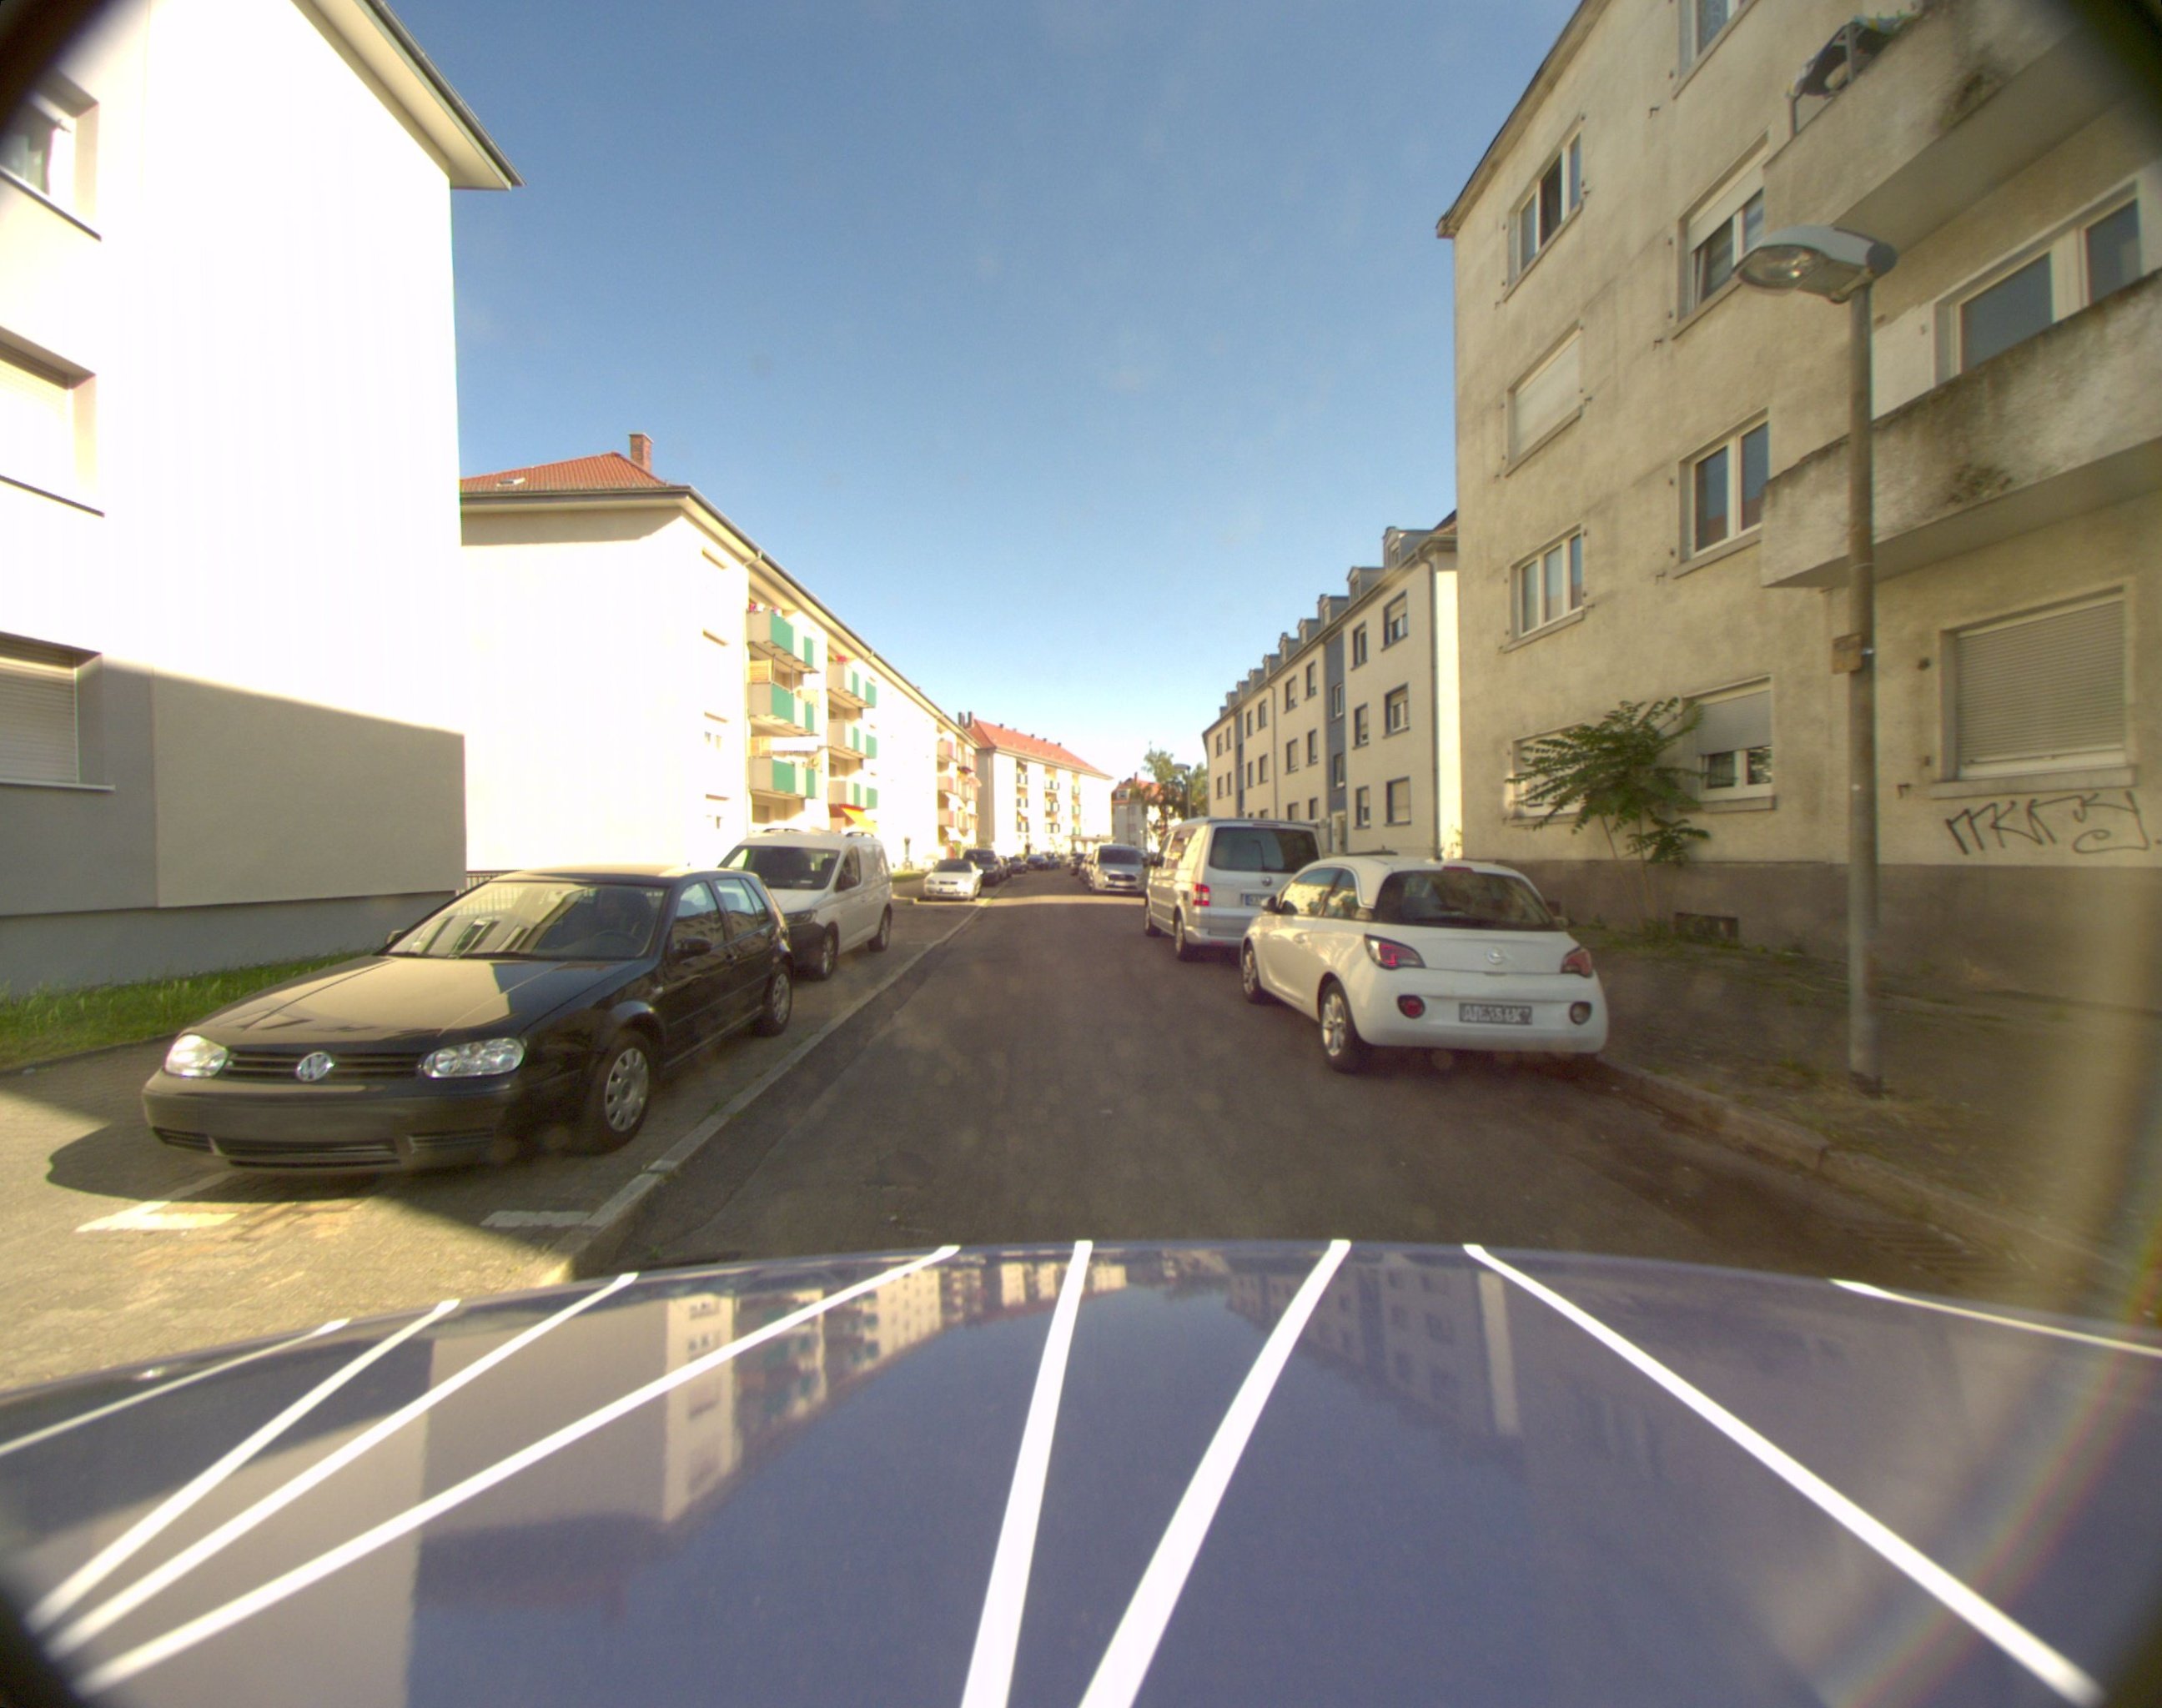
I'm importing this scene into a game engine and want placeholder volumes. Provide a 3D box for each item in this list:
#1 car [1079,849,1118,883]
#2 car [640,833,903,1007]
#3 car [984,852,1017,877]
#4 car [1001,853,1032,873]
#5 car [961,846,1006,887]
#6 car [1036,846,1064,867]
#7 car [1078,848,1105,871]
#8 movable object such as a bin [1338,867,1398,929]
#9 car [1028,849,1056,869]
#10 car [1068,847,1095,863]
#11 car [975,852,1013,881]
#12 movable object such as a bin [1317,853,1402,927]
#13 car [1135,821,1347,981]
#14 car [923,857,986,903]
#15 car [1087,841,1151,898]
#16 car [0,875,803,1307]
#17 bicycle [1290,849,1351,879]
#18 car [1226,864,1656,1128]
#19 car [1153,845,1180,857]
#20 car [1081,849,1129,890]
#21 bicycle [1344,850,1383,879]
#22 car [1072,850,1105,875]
[{"bbox_3d":[0.818,0.558,37.766,1.648,1.510,3.701,2,1,-2],"label":"car"},{"bbox_3d":[-3.862,0.696,10.444,1.802,1.835,4.538,2,1,-1],"label":"car"},{"bbox_3d":[-4.970,0.641,47.225,1.668,1.440,3.859,1,1,0],"label":"car"},{"bbox_3d":[-4.707,0.641,56.274,1.677,1.411,3.861,1,1,4],"label":"car"},{"bbox_3d":[-4.664,0.533,36.963,1.764,1.829,4.918,1,1,-3],"label":"car"},{"bbox_3d":[-2.897,0.223,72.004,1.756,1.724,4.003,-5,0,9],"label":"car"},{"bbox_3d":[0.800,0.361,54.241,1.745,1.507,3.983,2,1,2],"label":"car"},{"bbox_3d":[5.328,0.801,14.146,0.775,1.073,0.816,-2,1,-3],"label":"movable object such as a bin"},{"bbox_3d":[-3.387,0.405,66.496,1.580,1.752,4.241,1,1,8],"label":"car"},{"bbox_3d":[0.116,0.085,84.206,1.755,1.625,4.411,1,1,18],"label":"car"},{"bbox_3d":[-4.771,0.660,41.915,1.644,1.451,3.859,1,1,0],"label":"car"},{"bbox_3d":[5.528,0.687,15.147,1.259,1.369,1.044,-2,1,-3],"label":"movable object such as a bin"},{"bbox_3d":[2.126,0.559,11.671,1.956,1.922,4.854,1,1,-3],"label":"car"},{"bbox_3d":[-4.324,0.846,26.445,1.747,1.398,4.312,1,1,-4],"label":"car"},{"bbox_3d":[1.261,0.476,27.219,1.805,1.819,4.947,2,1,-2],"label":"car"},{"bbox_3d":[-3.317,0.934,4.795,1.803,1.407,4.047,2,1,-3],"label":"car"},{"bbox_3d":[9.043,0.366,28.702,2.073,0.956,0.500,-4,1,-2],"label":"bicycle"},{"bbox_3d":[2.461,0.860,6.295,1.691,1.450,3.720,1,1,-2],"label":"car"},{"bbox_3d":[10.861,-0.330,96.506,1.571,1.417,3.987,3,1,38],"label":"car"},{"bbox_3d":[0.990,0.627,33.060,1.678,1.582,4.163,3,1,-3],"label":"car"},{"bbox_3d":[9.982,0.342,26.928,0.500,0.956,2.074,-4,1,-2],"label":"bicycle"},{"bbox_3d":[0.421,0.492,48.186,1.905,1.450,4.395,2,1,-1],"label":"car"}]
